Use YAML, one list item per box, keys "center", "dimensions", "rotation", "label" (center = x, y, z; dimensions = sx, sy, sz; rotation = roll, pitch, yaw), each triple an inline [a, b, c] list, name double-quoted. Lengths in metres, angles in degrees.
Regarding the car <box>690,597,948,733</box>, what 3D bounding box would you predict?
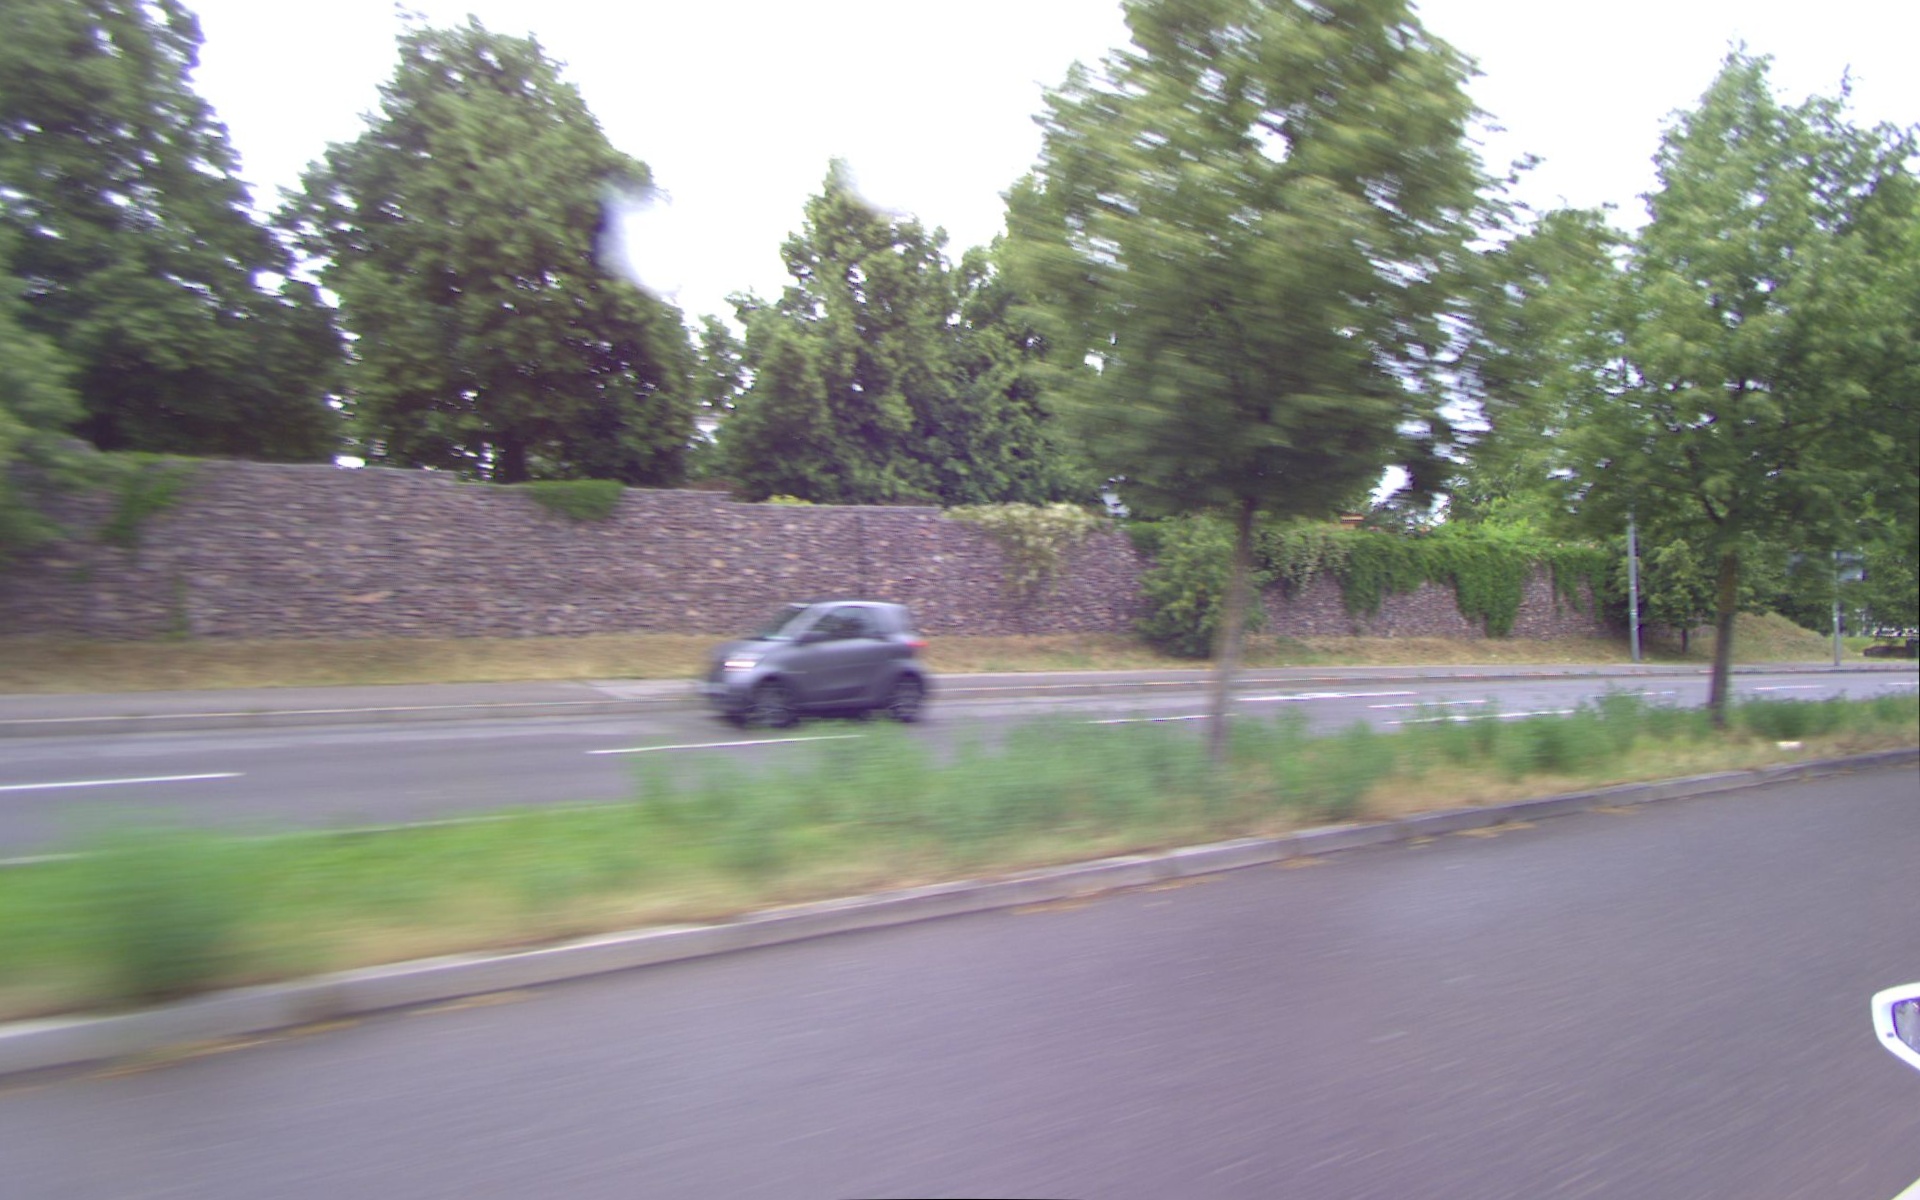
- center: [-1.809, 0.747, 12.930]
  dimensions: [2.884, 1.560, 1.677]
  rotation: [0, 0, -32]
  label: "car"
